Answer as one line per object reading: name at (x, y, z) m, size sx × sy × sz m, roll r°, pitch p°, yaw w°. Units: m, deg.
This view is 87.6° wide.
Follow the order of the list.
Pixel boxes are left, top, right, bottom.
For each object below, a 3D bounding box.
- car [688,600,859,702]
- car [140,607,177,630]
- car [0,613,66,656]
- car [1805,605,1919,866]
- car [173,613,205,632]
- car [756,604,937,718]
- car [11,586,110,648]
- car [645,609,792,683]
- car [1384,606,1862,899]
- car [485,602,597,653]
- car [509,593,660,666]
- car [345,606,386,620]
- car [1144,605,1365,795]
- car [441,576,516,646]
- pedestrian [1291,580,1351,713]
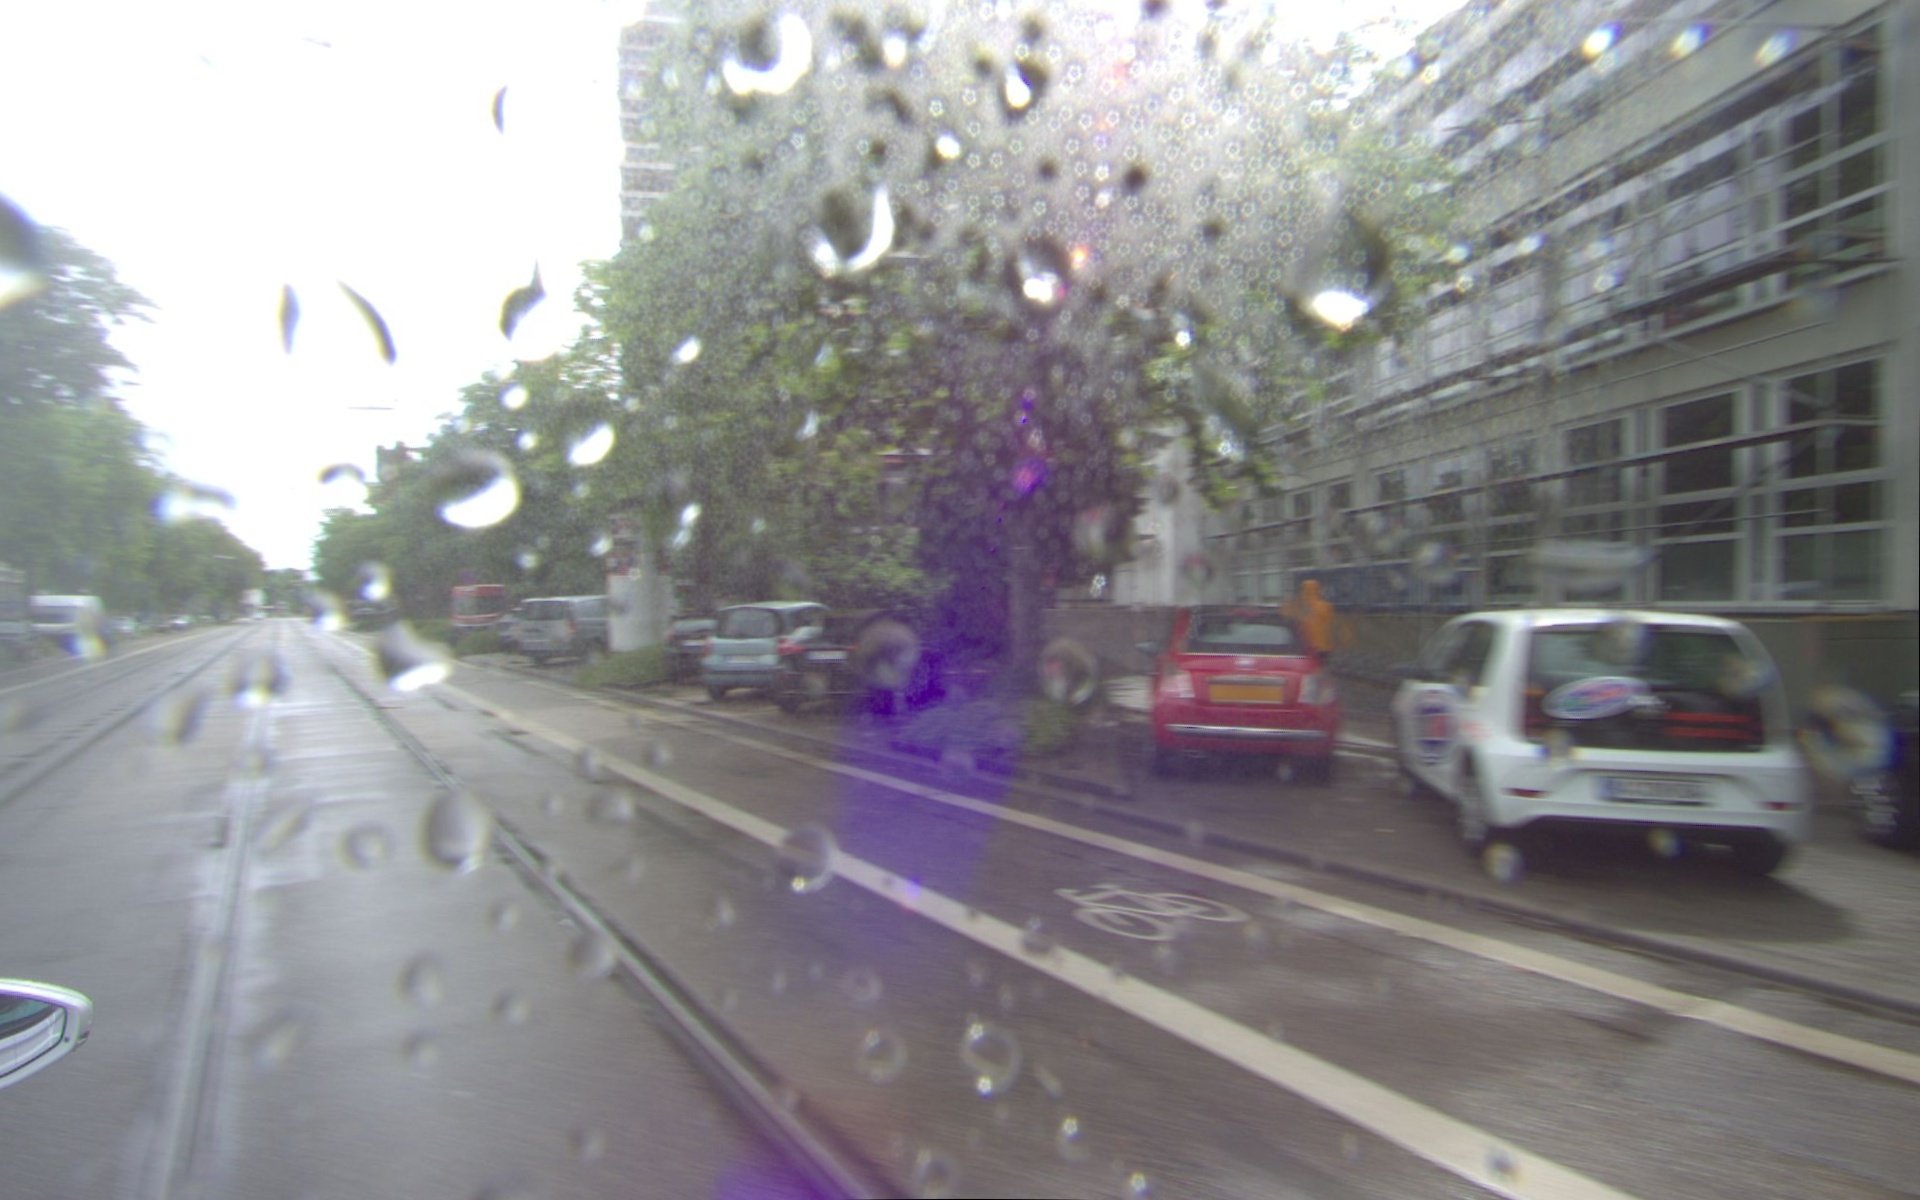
car at (-3.101, 0.802, 17.423) m, size 1.676 × 1.571 × 3.647 m, roll 0°, pitch 0°, yaw 12°
car at (-63.882, 1.516, 79.856) m, size 1.839 × 1.764 × 3.978 m, roll 2°, pitch -2°, yaw -32°
car at (-34.601, 1.227, 36.752) m, size 1.792 × 1.489 × 4.052 m, roll 2°, pitch -1°, yaw -29°
car at (6.165, 0.760, 4.819) m, size 1.784 × 1.500 × 3.973 m, roll 0°, pitch -1°, yaw 17°
car at (-69.849, 2.060, 90.748) m, size 1.839 × 1.658 × 3.978 m, roll 2°, pitch -2°, yaw -32°
car at (-1.554, 0.815, 15.030) m, size 1.709 × 1.489 × 3.648 m, roll 0°, pitch 0°, yaw 11°
car at (-39.385, 0.791, 44.013) m, size 2.565 × 2.505 × 6.110 m, roll 2°, pitch -2°, yaw -36°
car at (-4.941, 0.894, 20.982) m, size 1.735 × 1.415 × 3.648 m, roll 0°, pitch 0°, yaw 9°
car at (4.124, 0.783, 6.904) m, size 1.679 × 1.471 × 3.404 m, roll 0°, pitch 0°, yaw 14°
car at (-14.777, 0.923, 35.562) m, size 1.751 × 1.586 × 4.043 m, roll 0°, pitch 1°, yaw 10°
car at (-10.750, 0.791, 29.080) m, size 1.901 × 1.922 × 4.641 m, roll 0°, pitch 0°, yaw 12°
car at (-72.613, 1.617, 122.458) m, size 4.236 × 1.672 × 1.990 m, roll 2°, pitch -2°, yaw -30°
car at (2.699, 0.811, 9.858) m, size 1.709 × 1.489 × 3.406 m, roll 1°, pitch 0°, yaw 11°
car at (-19.606, 0.451, 41.005) m, size 2.263 × 2.668 × 5.468 m, roll 1°, pitch 0°, yaw -20°
pedestrian at (4.963, 0.638, 13.797) m, size 0.694 × 1.765 × 0.839 m, roll 0°, pitch -1°, yaw 15°
